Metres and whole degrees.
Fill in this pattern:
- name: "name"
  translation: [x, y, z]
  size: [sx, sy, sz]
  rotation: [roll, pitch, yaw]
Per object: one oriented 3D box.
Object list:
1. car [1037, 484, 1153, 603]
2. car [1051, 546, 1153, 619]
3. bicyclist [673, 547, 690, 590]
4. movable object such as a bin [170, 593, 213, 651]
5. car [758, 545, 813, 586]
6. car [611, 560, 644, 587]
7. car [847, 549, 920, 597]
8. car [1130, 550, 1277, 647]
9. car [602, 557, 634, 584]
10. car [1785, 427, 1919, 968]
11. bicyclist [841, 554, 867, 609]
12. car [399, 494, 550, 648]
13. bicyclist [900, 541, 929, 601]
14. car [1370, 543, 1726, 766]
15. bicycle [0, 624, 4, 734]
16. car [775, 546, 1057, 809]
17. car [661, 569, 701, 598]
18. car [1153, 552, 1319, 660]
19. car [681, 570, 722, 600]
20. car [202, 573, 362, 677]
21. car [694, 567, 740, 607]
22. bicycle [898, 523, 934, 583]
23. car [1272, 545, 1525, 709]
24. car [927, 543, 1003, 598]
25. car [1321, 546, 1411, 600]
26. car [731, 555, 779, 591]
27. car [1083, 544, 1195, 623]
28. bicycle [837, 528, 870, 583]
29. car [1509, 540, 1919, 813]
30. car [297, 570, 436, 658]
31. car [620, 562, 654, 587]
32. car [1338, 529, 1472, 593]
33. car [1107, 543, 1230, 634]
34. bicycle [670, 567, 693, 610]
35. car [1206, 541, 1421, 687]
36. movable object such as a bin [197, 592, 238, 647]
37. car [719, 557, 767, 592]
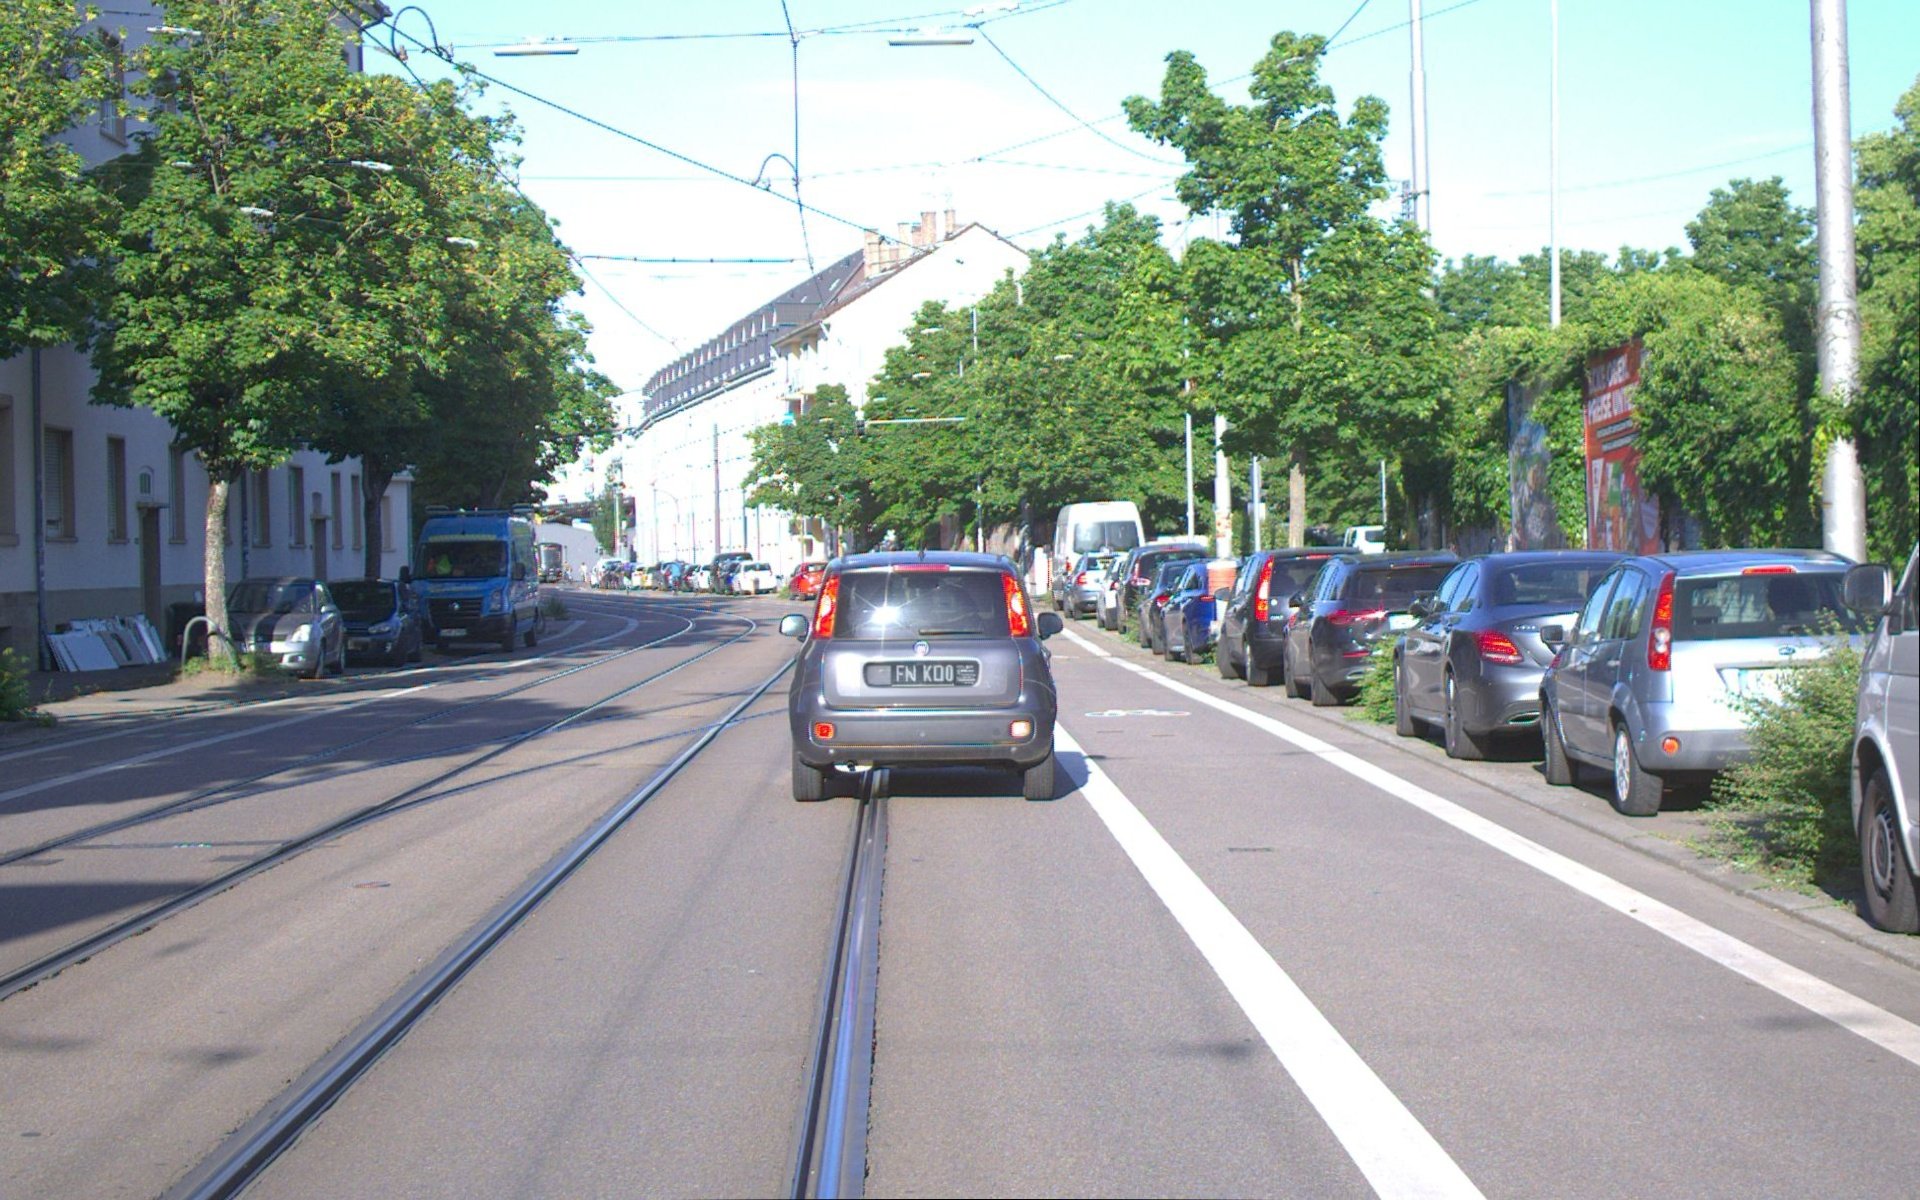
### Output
- name: "car"
  translation: [3.231, -1.349, 83.710]
  size: [2.180, 2.656, 6.092]
  rotation: [-3, 1, -2]
- name: "car"
  translation: [3.153, -0.398, 77.072]
  size: [1.910, 1.524, 4.601]
  rotation: [-2, 1, -2]
- name: "bicyclist"
  translation: [-13.040, -1.487, 160.895]
  size: [0.715, 2.007, 0.832]
  rotation: [0, 0, -12]
- name: "movable object such as a bin"
  translation: [-12.749, 0.359, 57.044]
  size: [0.596, 0.931, 0.569]
  rotation: [-2, 1, -3]
- name: "car"
  translation: [-6.806, -1.343, 134.026]
  size: [1.635, 1.503, 3.398]
  rotation: [-4, 1, -10]
- name: "car"
  translation: [-19.387, -1.549, 200.427]
  size: [1.582, 1.593, 3.377]
  rotation: [0, 0, -12]
- name: "car"
  translation: [-2.665, -0.928, 118.949]
  size: [1.688, 1.525, 4.001]
  rotation: [-3, 1, -13]
- name: "car"
  translation: [3.807, -0.045, 54.352]
  size: [1.727, 1.459, 4.499]
  rotation: [0, 0, -4]
- name: "car"
  translation: [-20.571, -1.793, 206.527]
  size: [1.582, 1.593, 3.377]
  rotation: [0, 0, -12]
- name: "car"
  translation: [4.427, 0.345, 12.013]
  size: [1.854, 1.984, 5.242]
  rotation: [-2, 1, 1]
- name: "bicyclist"
  translation: [-3.401, -0.603, 110.019]
  size: [0.699, 1.753, 0.758]
  rotation: [0, 0, -12]
- name: "car"
  translation: [-9.250, -0.563, 65.997]
  size: [2.017, 2.816, 6.032]
  rotation: [0, 0, 0]
- name: "bicyclist"
  translation: [-1.342, -0.839, 101.053]
  size: [0.699, 1.753, 0.758]
  rotation: [0, 0, -12]
- name: "car"
  translation: [4.208, 0.344, 25.296]
  size: [1.824, 1.479, 4.601]
  rotation: [0, 0, 0]
- name: "bicycle"
  translation: [-9.906, 0.750, 31.936]
  size: [0.532, 1.036, 1.982]
  rotation: [0, 1, 44]
- name: "car"
  translation: [-0.297, 0.430, 22.251]
  size: [1.650, 1.536, 4.235]
  rotation: [0, 1, -1]
- name: "car"
  translation: [-14.586, -0.864, 179.887]
  size: [1.582, 1.400, 3.377]
  rotation: [-5, 1, -12]
- name: "car"
  translation: [3.857, 0.061, 48.650]
  size: [1.727, 1.459, 4.342]
  rotation: [0, 0, -4]
- name: "car"
  translation: [-12.967, -0.762, 172.456]
  size: [1.655, 1.495, 3.130]
  rotation: [0, 0, -11]
- name: "car"
  translation: [-10.164, 0.345, 51.765]
  size: [1.651, 1.486, 4.000]
  rotation: [0, 0, 0]
- name: "car"
  translation: [-11.748, -0.639, 165.898]
  size: [1.655, 1.937, 4.666]
  rotation: [0, 0, -11]
- name: "bicycle"
  translation: [-1.299, -1.361, 100.914]
  size: [0.675, 1.741, 2.158]
  rotation: [0, 0, -12]
- name: "car"
  translation: [4.219, 0.223, 33.746]
  size: [1.824, 1.447, 4.642]
  rotation: [-2, 1, 0]
- name: "car"
  translation: [0.134, -0.881, 102.819]
  size: [1.688, 1.525, 4.001]
  rotation: [-3, 1, -8]
- name: "car"
  translation: [7.918, -0.534, 67.185]
  size: [1.309, 1.030, 3.057]
  rotation: [0, 0, -2]
- name: "car"
  translation: [-9.084, -1.182, 152.375]
  size: [1.655, 1.566, 3.500]
  rotation: [0, 0, -11]
- name: "car"
  translation: [3.493, -0.334, 67.818]
  size: [1.727, 1.507, 4.252]
  rotation: [0, 0, -4]
- name: "bicycle"
  translation: [-3.403, -1.410, 109.990]
  size: [0.675, 1.741, 2.158]
  rotation: [0, 0, -12]
- name: "car"
  translation: [4.512, 0.395, 20.578]
  size: [1.873, 1.467, 4.075]
  rotation: [0, 0, 1]
- name: "car"
  translation: [-9.985, 0.206, 58.085]
  size: [1.651, 1.420, 4.190]
  rotation: [0, 0, 0]
- name: "car"
  translation: [-18.309, -1.435, 194.758]
  size: [1.582, 1.400, 3.377]
  rotation: [0, 0, -12]
- name: "car"
  translation: [15.676, -1.377, 121.194]
  size: [4.279, 2.007, 1.774]
  rotation: [-3, 1, -6]
- name: "car"
  translation: [3.785, -0.226, 63.038]
  size: [1.727, 1.599, 4.343]
  rotation: [0, 0, -4]
- name: "bicycle"
  translation: [-13.036, -0.538, 160.758]
  size: [0.741, 2.007, 2.812]
  rotation: [0, 0, -12]
- name: "car"
  translation: [3.989, 0.138, 39.400]
  size: [1.824, 1.487, 3.815]
  rotation: [-3, 1, -3]
- name: "movable object such as a bin"
  translation: [-12.839, 0.338, 59.441]
  size: [0.596, 0.931, 0.569]
  rotation: [-2, 1, -3]
- name: "car"
  translation: [-9.903, -1.164, 156.622]
  size: [1.655, 1.566, 3.877]
  rotation: [0, 0, -11]
